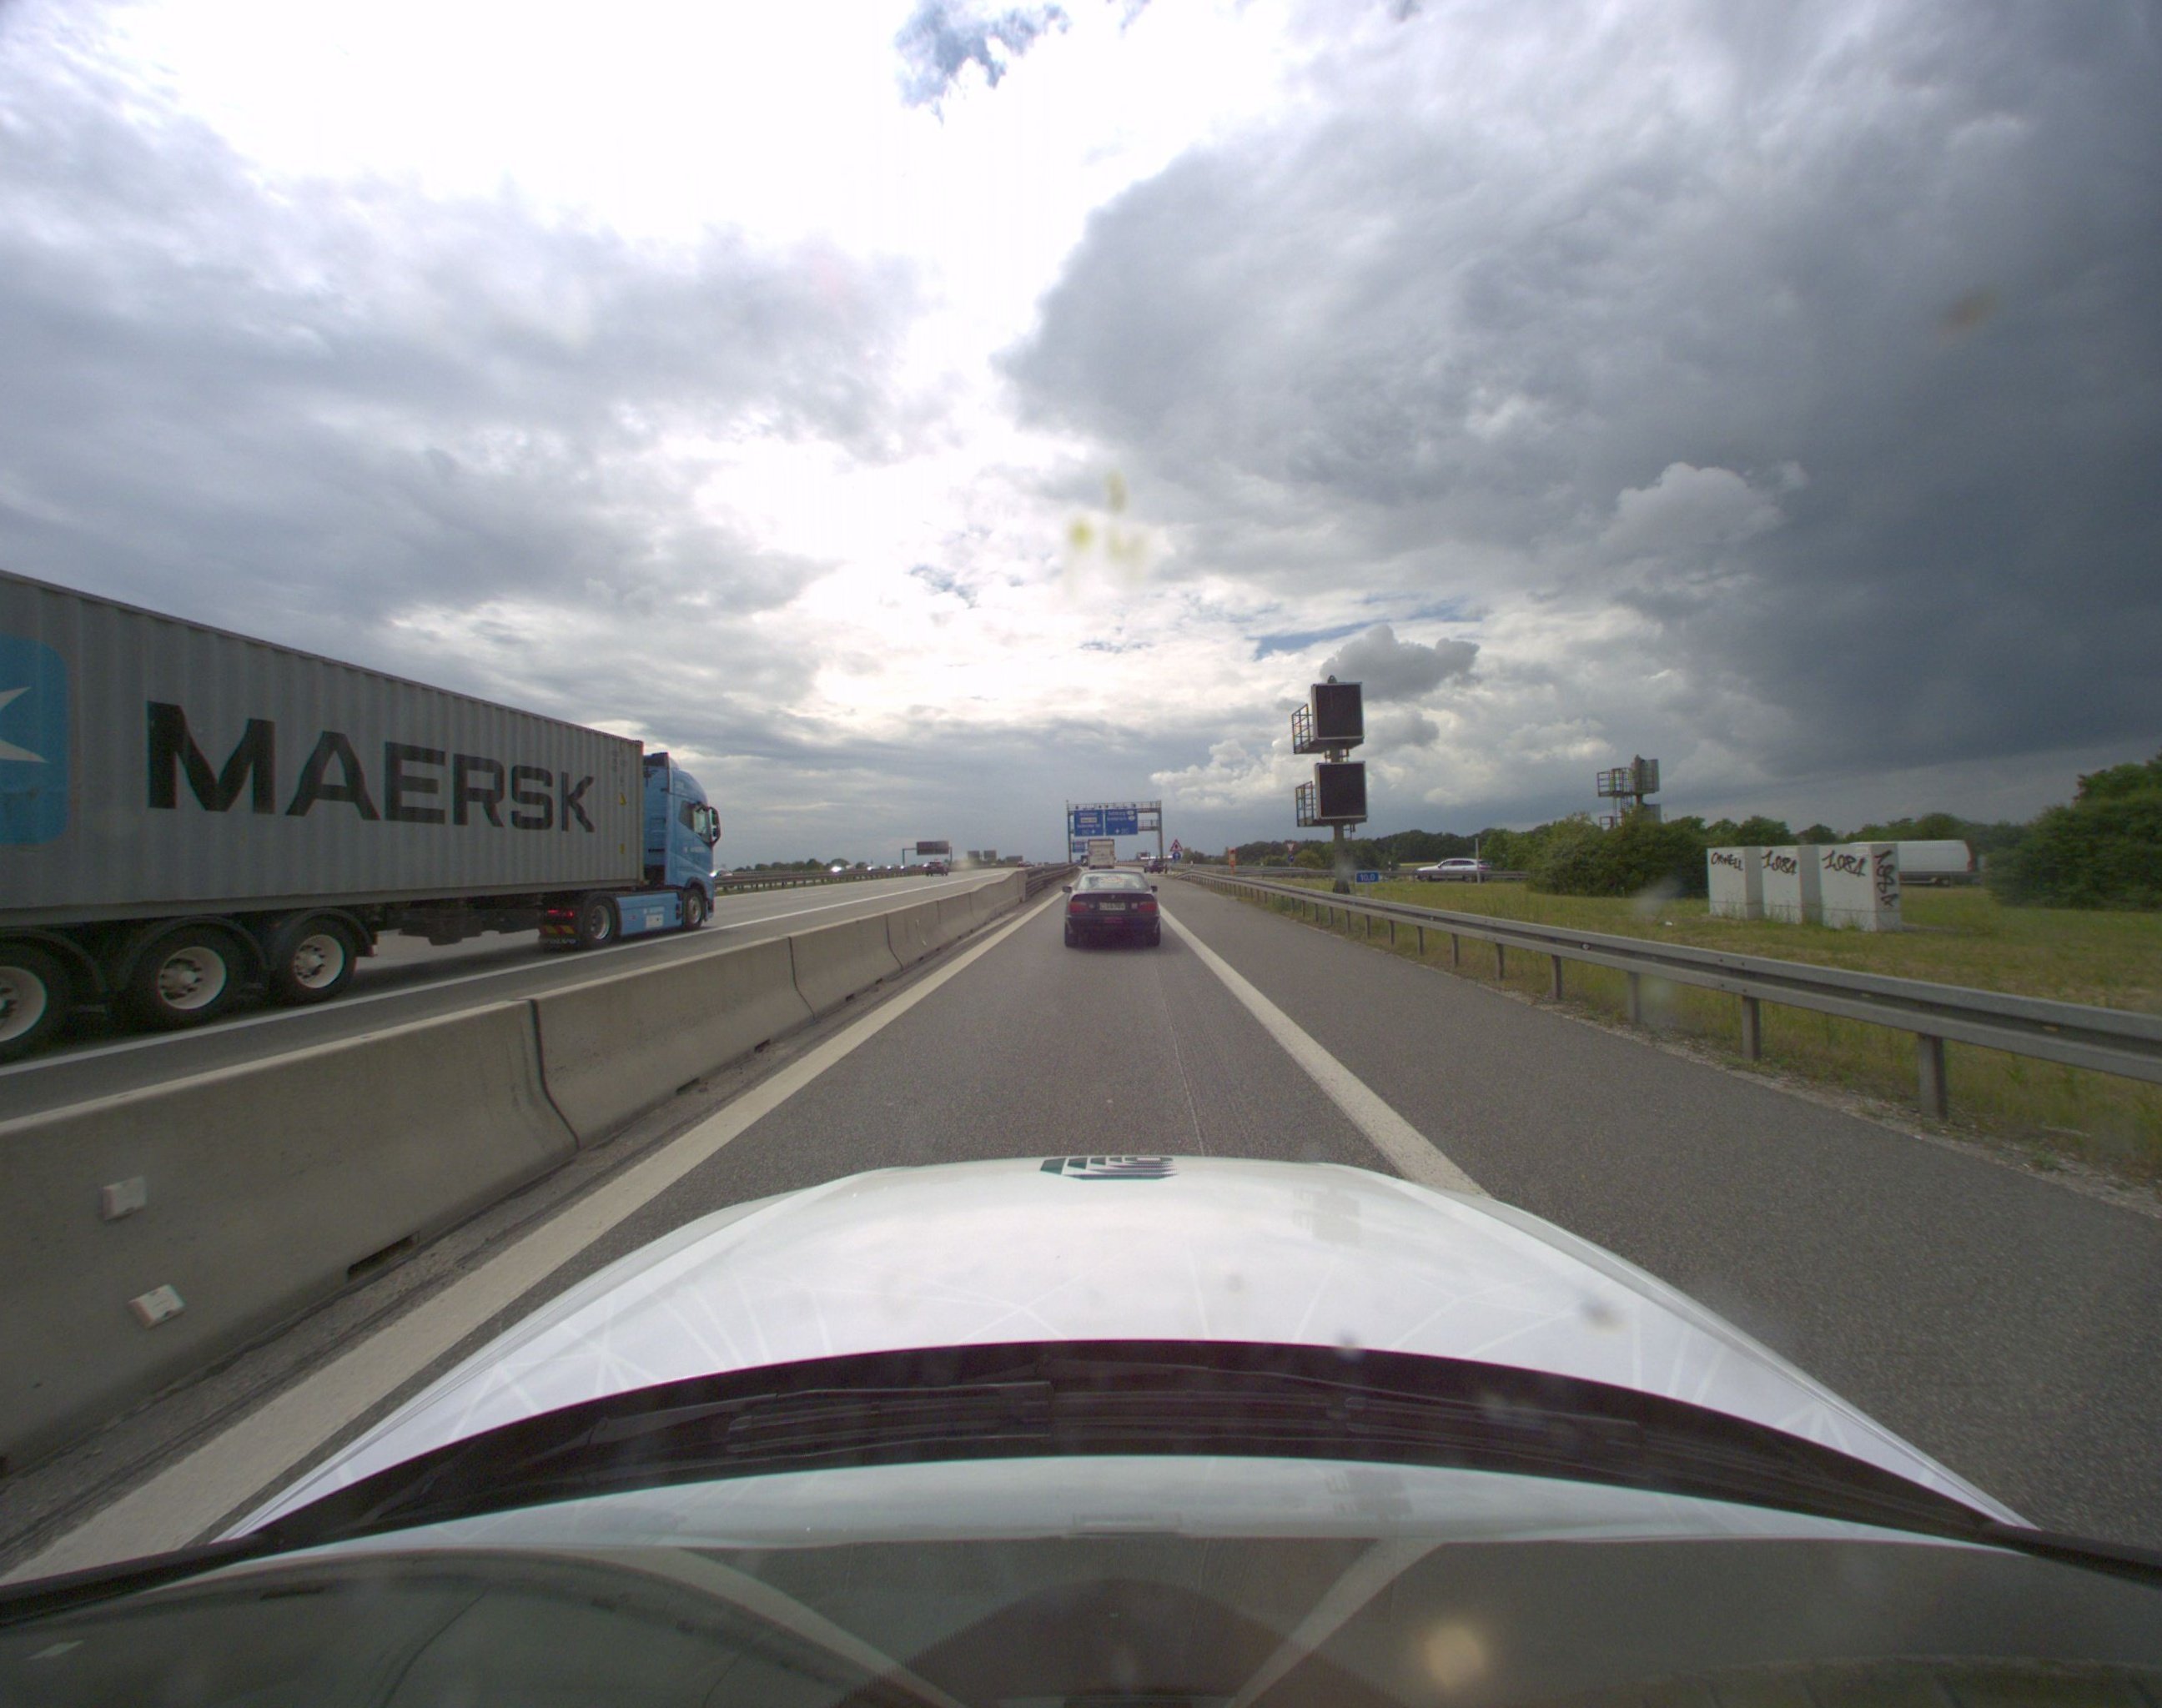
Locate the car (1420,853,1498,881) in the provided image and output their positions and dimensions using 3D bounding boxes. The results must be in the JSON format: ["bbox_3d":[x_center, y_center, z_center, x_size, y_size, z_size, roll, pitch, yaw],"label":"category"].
[{"bbox_3d":[24.596,0.870,53.110,4.156,1.685,1.954,-2,-1,44],"label":"car"}]

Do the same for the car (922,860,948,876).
[{"bbox_3d":[-15.088,1.395,84.462,1.886,1.597,4.416,-1,0,-1],"label":"car"}]

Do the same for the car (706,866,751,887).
[{"bbox_3d":[-25.947,1.642,60.049,1.518,1.464,4.000,-1,0,1],"label":"car"}]

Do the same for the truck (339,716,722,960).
[{"bbox_3d":[-10.346,-0.242,16.462,3.237,3.912,6.608,-1,0,0],"label":"truck"}]

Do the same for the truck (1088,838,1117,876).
[{"bbox_3d":[1.830,0.246,70.596,2.396,3.090,6.370,-1,0,1],"label":"truck"}]

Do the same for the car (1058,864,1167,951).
[{"bbox_3d":[0.608,0.905,15.415,1.775,1.378,4.139,-1,0,2],"label":"car"}]

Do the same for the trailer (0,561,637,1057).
[{"bbox_3d":[-10.229,-0.319,9.765,3.227,3.924,12.372,0,-1,-1],"label":"trailer"}]

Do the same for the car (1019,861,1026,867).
[{"bbox_3d":[-16.478,2.765,229.211,1.988,1.662,4.380,-1,0,-2],"label":"car"}]

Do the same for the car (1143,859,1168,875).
[{"bbox_3d":[7.778,1.342,84.950,1.990,1.552,3.993,0,-1,-4],"label":"car"}]
